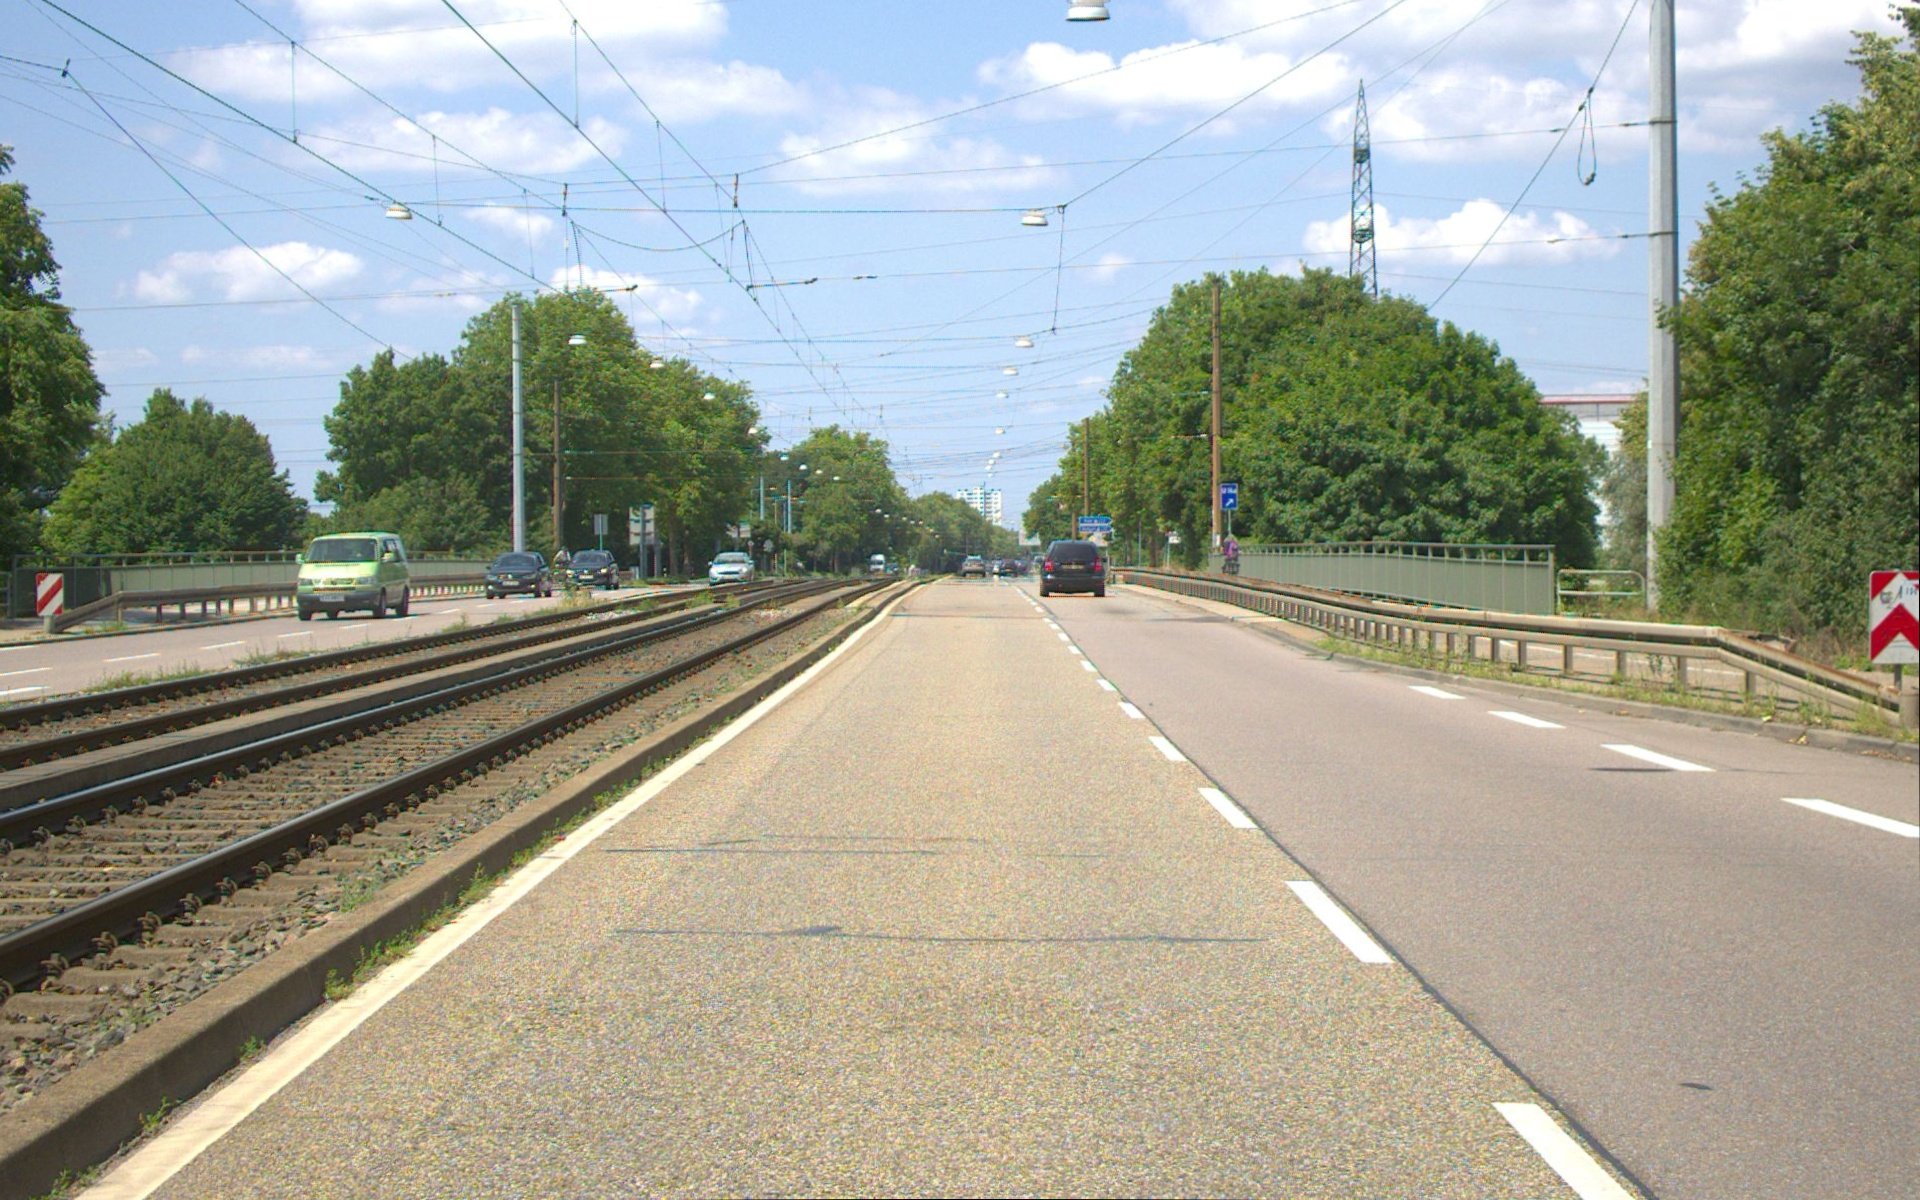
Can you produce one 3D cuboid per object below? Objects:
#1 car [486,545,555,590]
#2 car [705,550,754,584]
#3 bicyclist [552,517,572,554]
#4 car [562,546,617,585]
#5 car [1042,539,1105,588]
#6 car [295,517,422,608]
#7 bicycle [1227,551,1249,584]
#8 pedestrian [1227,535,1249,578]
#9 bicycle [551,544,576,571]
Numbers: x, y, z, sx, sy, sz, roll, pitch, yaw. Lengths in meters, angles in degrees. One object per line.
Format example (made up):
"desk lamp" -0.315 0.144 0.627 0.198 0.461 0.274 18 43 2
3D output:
"car" -13.567 -1.010 106.281 1.563 1.343 3.929 -1 1 1
"car" -9.982 -1.414 149.070 1.711 1.415 4.624 -1 1 1
"bicyclist" -17.521 -2.834 151.464 0.763 1.616 0.838 1 0 0
"car" -13.522 -1.272 125.646 1.574 1.395 3.938 0 1 0
"car" 3.155 -1.032 95.973 1.586 1.338 3.272 0 1 -1
"car" -13.277 -0.825 76.125 1.811 1.919 5.179 -1 1 1
"bicycle" 8.838 -1.029 109.460 0.559 1.021 1.848 0 0 1
"pedestrian" 8.851 -1.376 109.432 0.628 1.369 1.050 0 0 1
"bicycle" -17.478 -1.880 151.481 0.857 1.181 2.062 1 1 0
